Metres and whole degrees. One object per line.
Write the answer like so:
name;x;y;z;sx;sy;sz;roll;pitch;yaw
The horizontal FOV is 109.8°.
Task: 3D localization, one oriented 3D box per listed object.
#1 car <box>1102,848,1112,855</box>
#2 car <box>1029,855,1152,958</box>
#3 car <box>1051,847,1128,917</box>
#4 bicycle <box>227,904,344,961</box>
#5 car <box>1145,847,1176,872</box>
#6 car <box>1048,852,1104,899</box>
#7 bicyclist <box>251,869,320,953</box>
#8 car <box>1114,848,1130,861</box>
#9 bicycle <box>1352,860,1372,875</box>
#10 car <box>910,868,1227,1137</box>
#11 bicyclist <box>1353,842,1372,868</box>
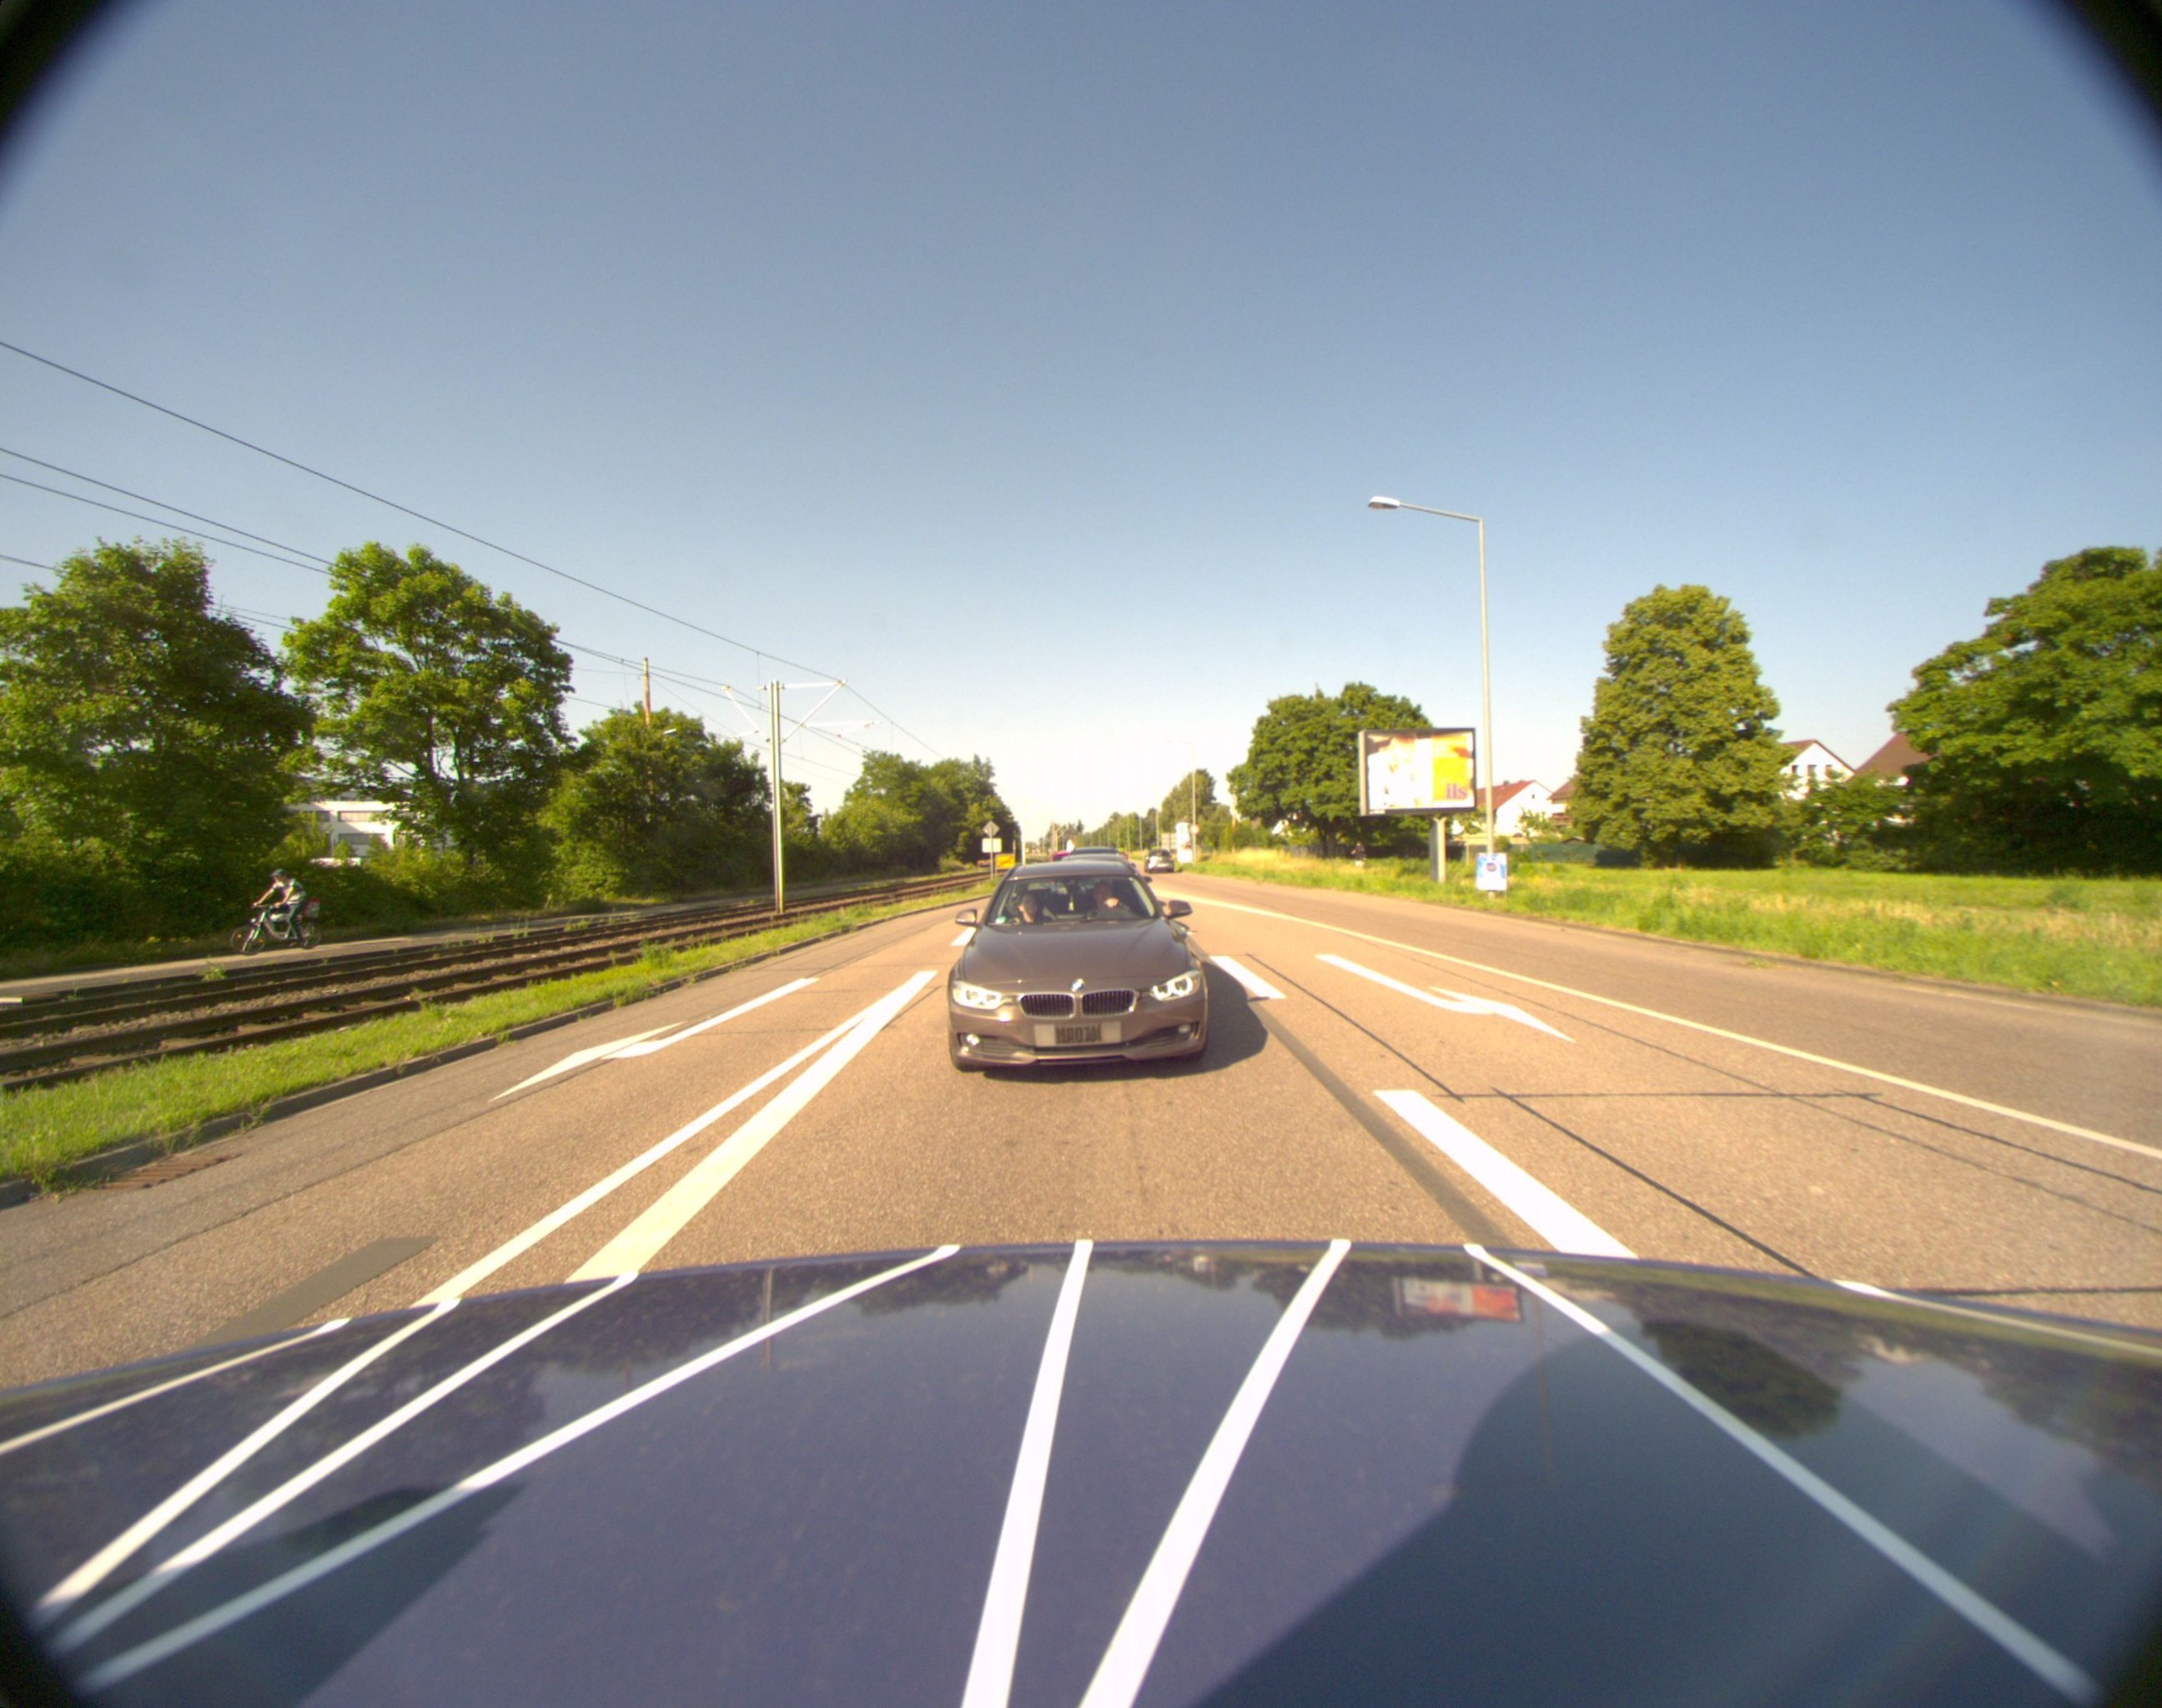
car;6.217;-0.563;180.451;1.784;1.469;4.284;-1;1;-4
car;0.169;0.793;13.798;1.821;1.481;4.610;-1;1;1
car;0.237;0.679;21.094;1.821;1.641;4.610;-2;1;1
bicycle;-17.727;1.726;16.998;0.547;1.041;1.874;-1;1;3
car;5.095;0.324;49.178;1.637;1.551;3.675;-1;1;0
car;-0.136;0.714;27.222;1.807;1.498;4.197;-1;1;1
bicyclist;-17.769;1.260;16.981;0.708;1.797;0.717;-1;1;2
car;4.742;0.060;87.691;1.698;1.490;3.676;0;1;2
bicycle;15.615;0.747;42.280;0.455;0.749;1.834;-1;1;0
car;-0.041;0.926;6.747;1.821;1.416;4.461;-2;0;1
bicyclist;15.634;0.032;42.204;0.638;1.420;1.071;-1;1;1
